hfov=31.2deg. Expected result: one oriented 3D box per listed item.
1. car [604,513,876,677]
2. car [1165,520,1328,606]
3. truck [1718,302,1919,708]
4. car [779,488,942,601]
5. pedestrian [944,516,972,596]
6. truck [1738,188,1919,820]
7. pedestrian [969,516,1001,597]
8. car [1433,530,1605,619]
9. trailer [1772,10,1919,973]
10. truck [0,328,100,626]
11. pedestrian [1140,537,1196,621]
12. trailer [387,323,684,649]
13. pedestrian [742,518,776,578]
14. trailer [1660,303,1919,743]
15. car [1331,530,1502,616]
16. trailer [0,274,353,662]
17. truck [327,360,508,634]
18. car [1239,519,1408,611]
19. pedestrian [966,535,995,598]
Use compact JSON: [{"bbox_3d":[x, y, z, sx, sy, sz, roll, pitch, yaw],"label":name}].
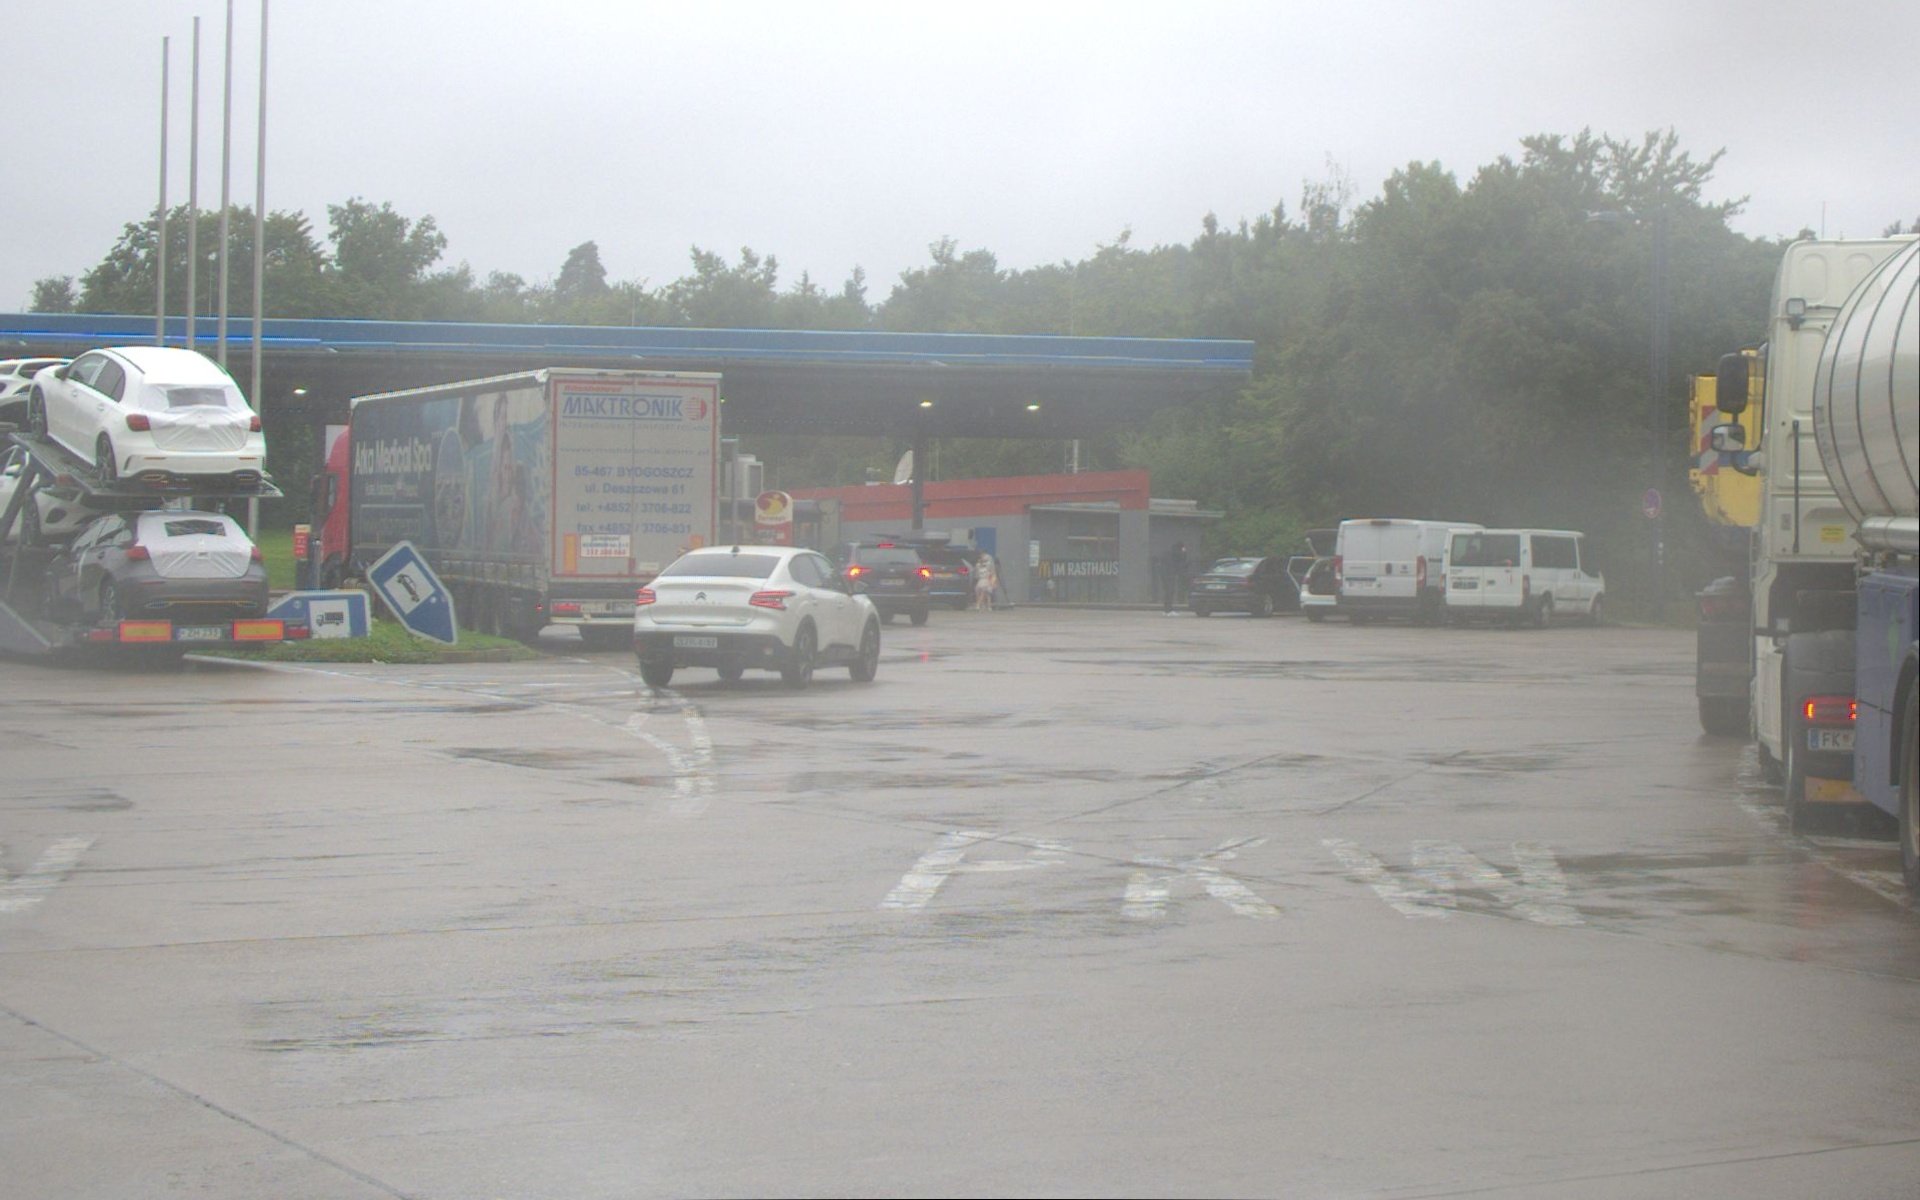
[{"bbox_3d":[-2.310,-0.104,37.117,1.994,1.673,3.998,0,1,11],"label":"car"},{"bbox_3d":[6.638,-0.866,79.297,2.117,1.930,4.185,1,1,31],"label":"car"},{"bbox_3d":[8.902,-0.931,34.510,2.182,3.815,4.138,1,1,17],"label":"truck"},{"bbox_3d":[-2.018,-1.073,68.582,1.993,2.007,4.001,3,-2,-20],"label":"car"},{"bbox_3d":[-0.059,-1.133,89.178,0.586,2.007,0.637,3,-2,-5],"label":"pedestrian"},{"bbox_3d":[6.049,-0.557,21.268,2.147,3.501,4.644,1,1,10],"label":"truck"},{"bbox_3d":[0.639,-1.118,88.010,0.669,2.007,0.742,3,-2,4],"label":"pedestrian"},{"bbox_3d":[11.331,-0.537,69.506,2.117,1.722,3.993,1,1,31],"label":"car"},{"bbox_3d":[4.912,-0.436,14.674,2.132,3.429,10.249,1,1,10],"label":"trailer"},{"bbox_3d":[-15.708,-1.856,51.955,3.233,4.174,8.445,1,1,-28],"label":"truck"},{"bbox_3d":[4.814,-0.503,79.531,0.955,1.913,1.087,1,1,23],"label":"pedestrian"},{"bbox_3d":[-6.728,-1.648,53.040,1.993,4.544,9.812,1,0,-22],"label":"trailer"},{"bbox_3d":[-5.254,-1.353,89.961,0.718,1.516,0.742,3,-2,4],"label":"pedestrian"},{"bbox_3d":[7.653,-0.658,30.307,2.184,3.380,7.558,1,1,17],"label":"trailer"},{"bbox_3d":[9.550,-0.578,71.662,2.117,1.722,3.993,1,1,31],"label":"car"},{"bbox_3d":[-11.030,-1.572,43.126,3.215,4.175,11.531,1,1,-28],"label":"trailer"},{"bbox_3d":[-9.483,-1.739,59.807,1.987,4.534,4.796,1,0,-22],"label":"truck"},{"bbox_3d":[8.006,-0.783,75.393,2.117,1.930,4.185,1,1,31],"label":"car"},{"bbox_3d":[0.502,-0.826,84.716,0.608,1.534,0.595,1,-1,-10],"label":"pedestrian"}]
